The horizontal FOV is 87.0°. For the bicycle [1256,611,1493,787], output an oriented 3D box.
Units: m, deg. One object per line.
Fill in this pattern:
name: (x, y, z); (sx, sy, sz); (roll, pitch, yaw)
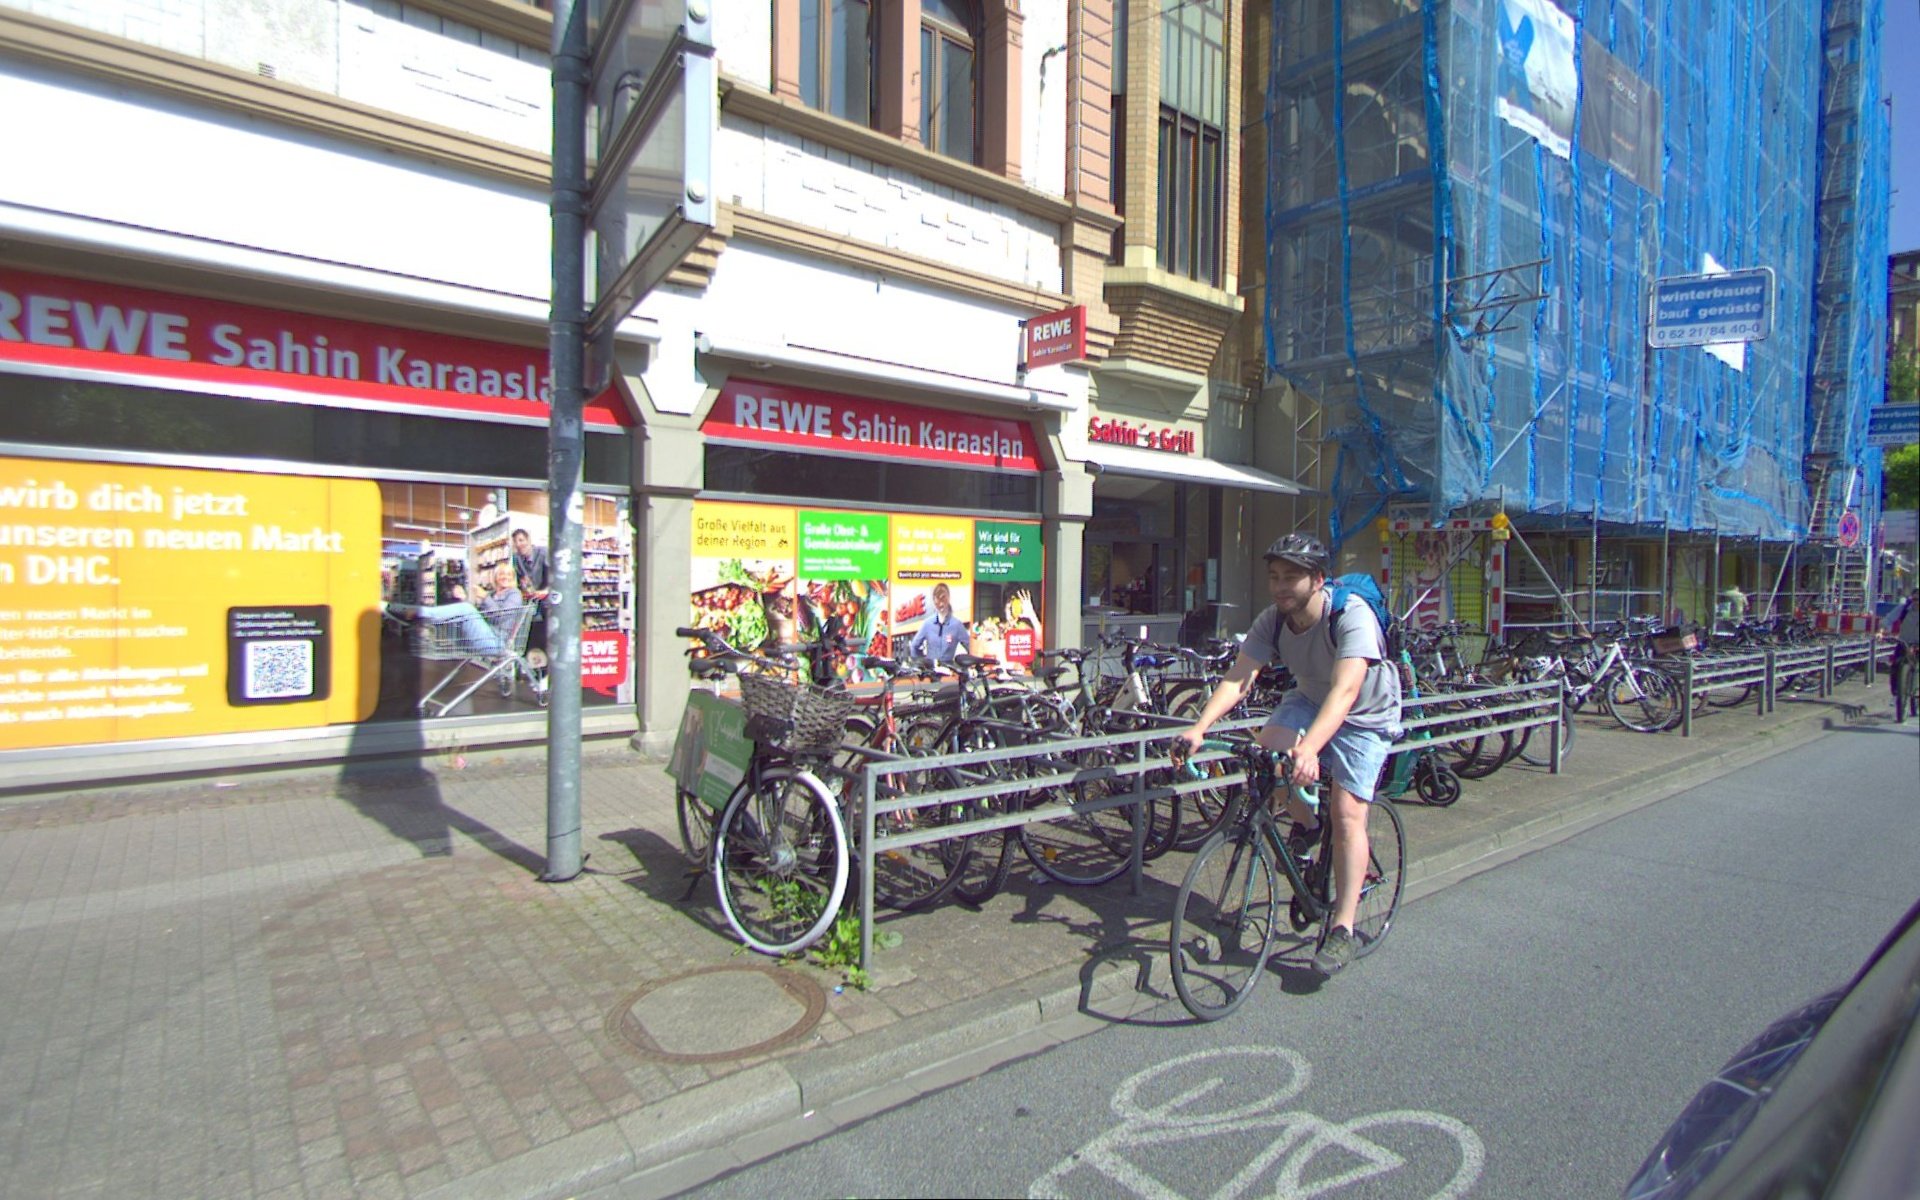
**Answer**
bicycle: (3.141, 0.694, 7.825); (0.443, 1.193, 1.697); (0, 0, -38)

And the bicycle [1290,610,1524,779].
bicycle: (3.543, 0.692, 8.158); (0.482, 1.193, 1.697); (0, 0, -38)

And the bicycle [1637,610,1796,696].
bicycle: (10.840, 0.721, 14.550); (0.597, 1.123, 1.743); (0, 0, -38)

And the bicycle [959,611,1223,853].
bicycle: (0.703, 0.679, 5.940); (0.461, 1.193, 1.697); (0, 0, -38)

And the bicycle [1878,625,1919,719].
bicycle: (12.539, 0.902, 13.104); (1.865, 1.107, 0.735); (-1, 0, -41)

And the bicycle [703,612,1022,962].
bicycle: (-0.525, 0.713, 4.638); (0.597, 1.193, 1.698); (1, 3, -38)

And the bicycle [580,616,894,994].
bicycle: (-1.015, 0.705, 4.256); (0.597, 1.193, 1.698); (1, 1, -38)

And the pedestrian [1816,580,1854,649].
pedestrian: (23.059, 0.373, 26.672); (0.637, 1.799, 0.640); (0, -1, -39)

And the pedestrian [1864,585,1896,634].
pedestrian: (34.972, 0.339, 38.483); (0.966, 1.803, 0.670); (0, 2, -35)

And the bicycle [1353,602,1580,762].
bicycle: (4.398, 0.651, 8.898); (0.597, 1.256, 1.697); (0, 0, -38)

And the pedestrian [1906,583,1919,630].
pedestrian: (35.192, 0.233, 37.287); (0.469, 1.703, 0.381); (-1, 2, -43)

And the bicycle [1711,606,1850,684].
bicycle: (13.537, 0.717, 16.741); (0.597, 1.193, 1.697); (0, 0, -38)

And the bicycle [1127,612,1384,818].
bicycle: (1.935, 0.695, 6.848); (0.504, 1.193, 1.697); (0, 0, -38)

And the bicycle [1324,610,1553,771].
bicycle: (3.958, 0.692, 8.487); (0.488, 1.193, 1.697); (0, 0, -38)

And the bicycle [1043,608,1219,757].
bicycle: (1.494, 0.683, 9.109); (0.455, 1.193, 1.697); (0, 0, -38)

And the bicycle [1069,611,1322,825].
bicycle: (1.471, 0.686, 6.602); (0.451, 1.193, 1.697); (0, 0, -38)

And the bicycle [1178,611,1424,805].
bicycle: (2.363, 0.695, 7.206); (0.449, 1.193, 1.697); (0, 0, -38)

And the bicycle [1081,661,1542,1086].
bicycle: (1.453, 0.854, 3.920); (2.093, 1.107, 0.735); (-1, 0, -41)

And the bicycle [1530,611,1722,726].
bicycle: (7.699, 0.748, 11.778); (0.597, 1.193, 1.775); (0, 0, -38)

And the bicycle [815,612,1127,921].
bicycle: (-0.022, 0.701, 5.038); (0.597, 1.193, 1.698); (1, 2, -38)

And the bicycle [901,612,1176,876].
bicycle: (0.355, 0.676, 5.506); (0.461, 1.193, 1.697); (0, 0, -38)

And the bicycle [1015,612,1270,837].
bicycle: (1.073, 0.686, 6.322); (0.451, 1.193, 1.697); (0, 0, -38)

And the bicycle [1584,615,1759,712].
bicycle: (8.888, 0.754, 12.696); (0.597, 1.101, 1.697); (0, 0, -38)

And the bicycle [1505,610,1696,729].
bicycle: (7.082, 0.727, 11.266); (0.597, 1.193, 1.697); (0, 0, -38)

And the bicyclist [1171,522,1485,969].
bicyclist: (1.466, 0.480, 3.993); (1.123, 1.481, 0.689); (0, -1, -41)

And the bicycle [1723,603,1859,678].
bicycle: (14.062, 0.657, 17.160); (0.597, 1.193, 1.697); (0, 0, -38)

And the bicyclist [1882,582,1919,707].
bicyclist: (12.544, 0.559, 13.121); (0.764, 1.597, 0.750); (0, -1, -40)

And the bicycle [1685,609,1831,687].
bicycle: (12.419, 0.719, 15.793); (0.597, 1.111, 1.697); (0, 0, -38)

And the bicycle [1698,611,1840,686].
bicycle: (12.963, 0.748, 16.264); (0.597, 1.111, 1.697); (0, 0, -38)

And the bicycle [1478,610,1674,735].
bicycle: (6.559, 0.724, 10.846); (0.597, 1.193, 1.697); (0, 0, -38)

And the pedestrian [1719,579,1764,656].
pedestrian: (16.858, 0.365, 21.827); (0.753, 1.621, 0.643); (0, -1, -44)
